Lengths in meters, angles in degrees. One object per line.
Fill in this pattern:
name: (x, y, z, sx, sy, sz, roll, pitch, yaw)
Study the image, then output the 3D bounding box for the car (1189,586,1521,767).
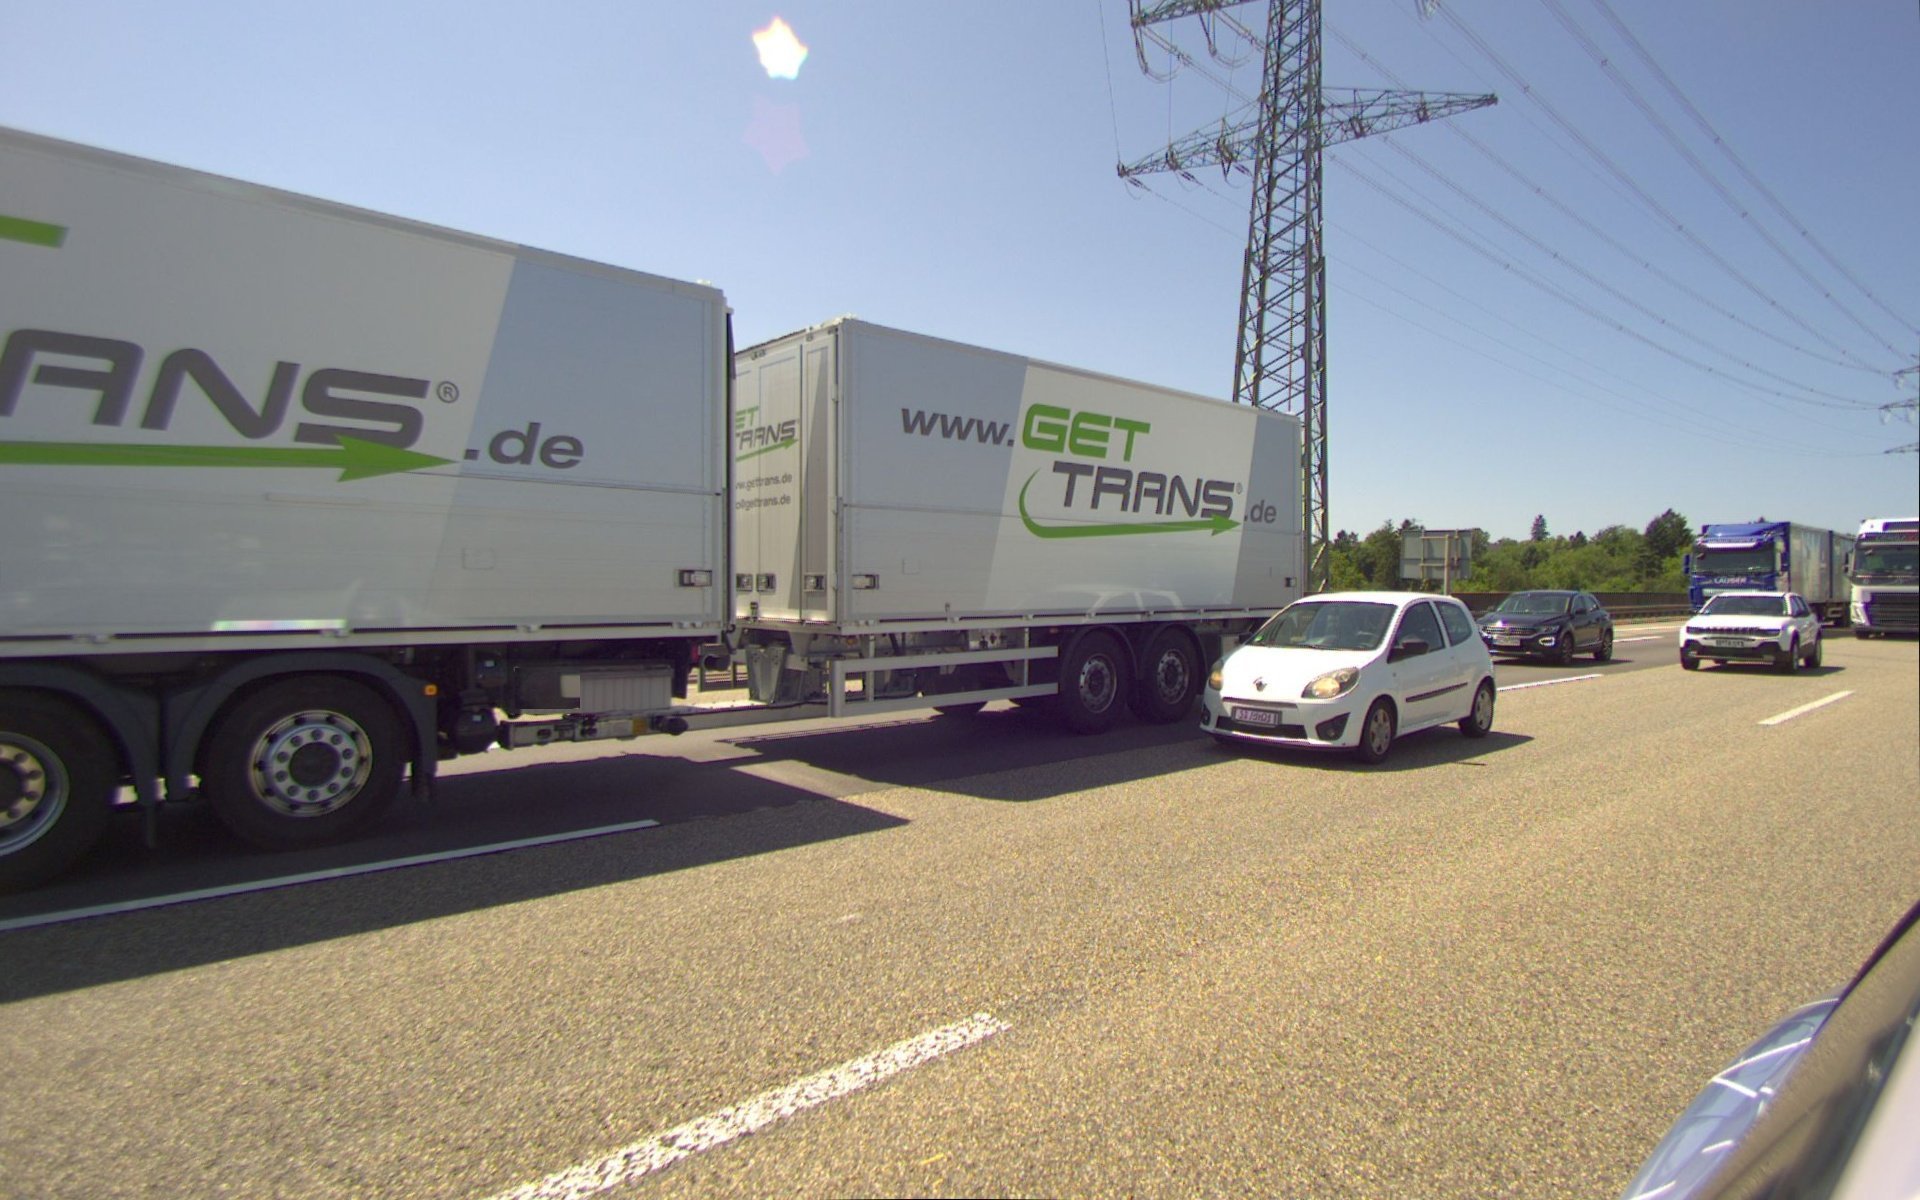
car: (3.966, 0.594, 9.924, 3.566, 1.458, 1.582, -1, 1, -41)

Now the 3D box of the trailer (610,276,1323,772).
trailer: (0.656, -0.589, 11.223, 8.150, 3.640, 2.848, 0, 0, -42)

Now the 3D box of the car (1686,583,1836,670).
car: (15.838, 0.443, 19.965, 3.688, 1.554, 1.720, -1, 1, -42)

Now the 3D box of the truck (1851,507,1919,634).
truck: (32.135, -0.968, 33.664, 6.625, 3.941, 2.911, -1, 0, -42)

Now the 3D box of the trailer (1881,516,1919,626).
trailer: (38.235, -1.122, 39.038, 9.605, 3.918, 2.895, -1, 0, -41)

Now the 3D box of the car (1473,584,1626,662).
car: (12.679, 0.430, 21.678, 3.821, 1.524, 1.708, -1, 1, -41)

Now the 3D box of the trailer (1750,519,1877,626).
trailer: (36.446, -1.147, 43.032, 10.697, 4.044, 2.541, -1, 0, -41)

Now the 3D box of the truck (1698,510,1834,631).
truck: (29.503, -1.008, 36.916, 7.789, 4.018, 2.515, 0, 0, -41)

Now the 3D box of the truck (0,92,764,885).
truck: (-6.293, -0.493, 4.863, 10.586, 3.648, 2.854, -1, 0, -43)
